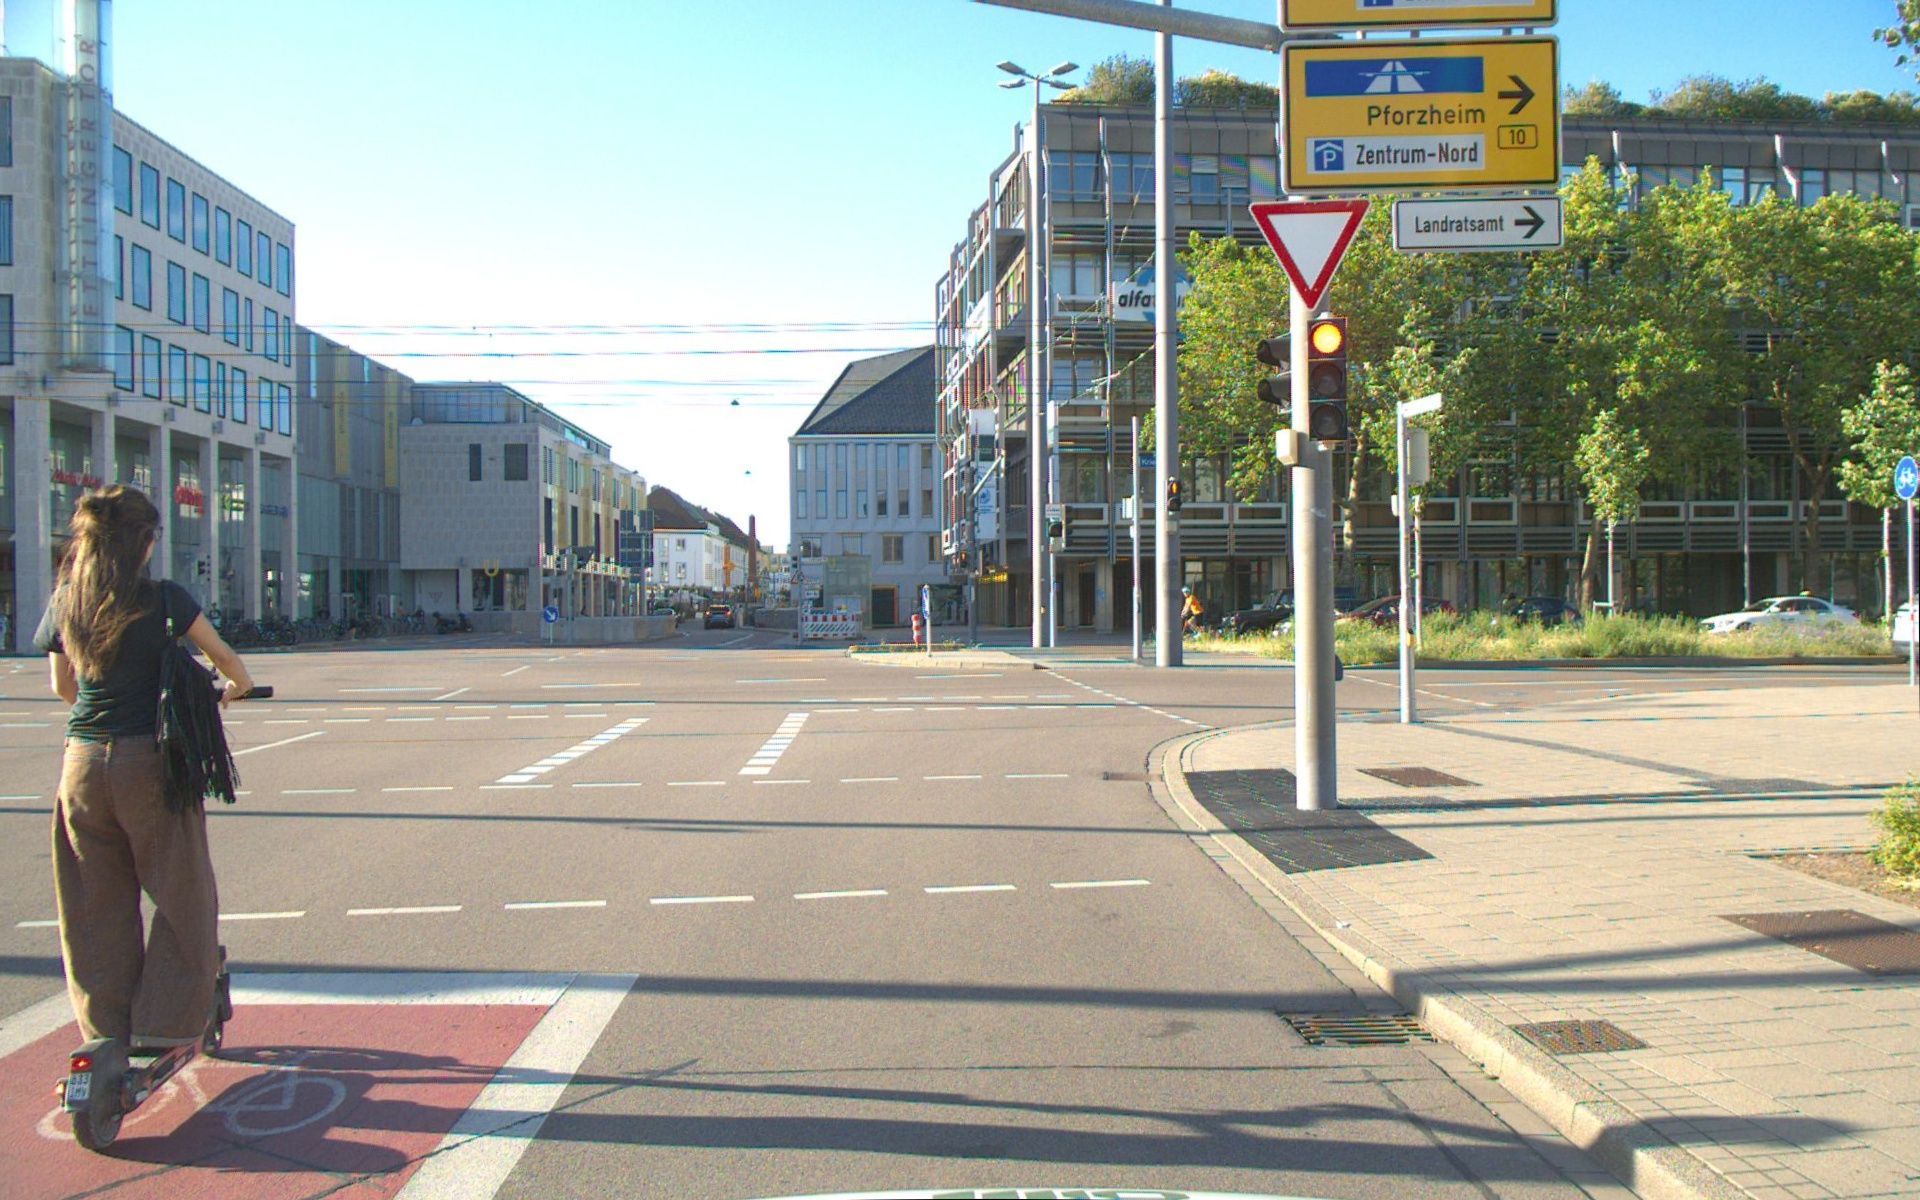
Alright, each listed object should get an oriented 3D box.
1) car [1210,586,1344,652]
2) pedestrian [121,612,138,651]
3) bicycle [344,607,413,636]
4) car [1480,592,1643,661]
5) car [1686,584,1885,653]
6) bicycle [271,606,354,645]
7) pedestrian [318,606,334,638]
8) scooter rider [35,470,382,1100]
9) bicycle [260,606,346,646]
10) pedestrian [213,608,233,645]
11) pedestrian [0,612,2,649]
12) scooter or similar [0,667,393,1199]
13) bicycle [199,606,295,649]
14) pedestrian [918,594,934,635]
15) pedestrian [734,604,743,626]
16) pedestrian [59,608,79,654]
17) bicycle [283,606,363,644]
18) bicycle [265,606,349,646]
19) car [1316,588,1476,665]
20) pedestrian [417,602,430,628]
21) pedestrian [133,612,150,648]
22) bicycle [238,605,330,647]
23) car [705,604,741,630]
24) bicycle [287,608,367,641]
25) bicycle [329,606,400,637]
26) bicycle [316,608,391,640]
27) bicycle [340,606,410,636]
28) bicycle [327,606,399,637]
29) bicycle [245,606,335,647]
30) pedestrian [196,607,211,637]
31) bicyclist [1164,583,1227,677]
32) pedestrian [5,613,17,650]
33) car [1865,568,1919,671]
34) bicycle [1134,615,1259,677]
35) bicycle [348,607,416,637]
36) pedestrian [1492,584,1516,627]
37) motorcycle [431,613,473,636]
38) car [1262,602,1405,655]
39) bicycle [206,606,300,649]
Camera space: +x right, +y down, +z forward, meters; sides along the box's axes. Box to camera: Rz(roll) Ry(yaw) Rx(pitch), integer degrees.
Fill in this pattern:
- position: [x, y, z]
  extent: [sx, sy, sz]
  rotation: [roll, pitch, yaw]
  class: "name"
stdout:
- position: [10.305, 0.600, 53.910]
  extent: [3.908, 2.049, 1.999]
  rotation: [1, 0, -3]
  class: "car"
- position: [-34.920, 1.308, 69.515]
  extent: [0.472, 1.613, 0.513]
  rotation: [-1, 0, -5]
  class: "pedestrian"
- position: [-31.781, 1.171, 90.392]
  extent: [3.430, 1.554, 0.984]
  rotation: [-1, 0, -12]
  class: "bicycle"
- position: [18.828, 0.822, 51.870]
  extent: [4.359, 2.049, 1.998]
  rotation: [1, 0, -6]
  class: "car"
- position: [26.173, 0.580, 52.566]
  extent: [5.332, 2.049, 2.096]
  rotation: [1, 0, -3]
  class: "car"
- position: [-30.037, 1.182, 76.773]
  extent: [3.430, 1.726, 0.984]
  rotation: [-1, 0, -12]
  class: "bicycle"
- position: [-33.584, 1.147, 87.683]
  extent: [0.641, 1.671, 0.693]
  rotation: [-1, 0, -9]
  class: "pedestrian"
- position: [-2.301, 0.529, 5.159]
  extent: [0.713, 1.806, 0.811]
  rotation: [0, 0, -1]
  class: "scooter rider"
- position: [-29.572, 1.172, 74.486]
  extent: [3.430, 1.726, 0.984]
  rotation: [-1, 0, -12]
  class: "bicycle"
- position: [-33.294, 1.198, 74.731]
  extent: [0.776, 1.671, 0.688]
  rotation: [-1, 0, -30]
  class: "pedestrian"
- position: [-37.974, 1.216, 65.151]
  extent: [0.383, 1.451, 0.497]
  rotation: [-1, 0, -34]
  class: "pedestrian"
- position: [-2.282, 0.844, 4.807]
  extent: [0.713, 1.223, 1.664]
  rotation: [0, 0, -1]
  class: "scooter or similar"
- position: [-29.321, 1.117, 68.025]
  extent: [3.427, 1.726, 1.114]
  rotation: [-1, 0, -10]
  class: "bicycle"
- position: [-1.439, 0.609, 69.527]
  extent: [0.650, 1.687, 0.755]
  rotation: [-1, 0, -4]
  class: "pedestrian"
- position: [-14.459, 0.993, 107.990]
  extent: [0.598, 1.436, 0.569]
  rotation: [-1, 0, -7]
  class: "pedestrian"
- position: [-32.612, 1.117, 60.516]
  extent: [0.532, 1.671, 0.547]
  rotation: [-1, 0, -19]
  class: "pedestrian"
- position: [-30.335, 1.191, 78.859]
  extent: [3.430, 1.726, 0.984]
  rotation: [-1, 0, -12]
  class: "bicycle"
- position: [-29.796, 1.181, 75.574]
  extent: [3.430, 1.726, 0.984]
  rotation: [-1, 0, -12]
  class: "bicycle"
- position: [12.232, 0.735, 46.569]
  extent: [3.908, 2.049, 1.999]
  rotation: [1, 0, -3]
  class: "car"
- position: [-34.188, 0.963, 105.424]
  extent: [0.684, 1.671, 0.693]
  rotation: [-1, 0, -12]
  class: "pedestrian"
- position: [-34.701, 1.267, 70.150]
  extent: [0.472, 1.537, 0.513]
  rotation: [-1, 0, -5]
  class: "pedestrian"
- position: [-28.866, 1.091, 70.705]
  extent: [3.427, 1.726, 1.114]
  rotation: [-1, 0, -10]
  class: "bicycle"
- position: [-15.494, 1.099, 108.155]
  extent: [2.157, 1.635, 4.320]
  rotation: [-1, 0, -6]
  class: "car"
- position: [-30.540, 1.174, 79.848]
  extent: [3.430, 1.554, 0.984]
  rotation: [-1, 0, -12]
  class: "bicycle"
- position: [-31.387, 1.111, 87.236]
  extent: [3.430, 1.554, 0.984]
  rotation: [-1, 0, -12]
  class: "bicycle"
- position: [-30.882, 1.216, 84.258]
  extent: [3.430, 1.554, 0.984]
  rotation: [-1, 0, -12]
  class: "bicycle"
- position: [-31.478, 1.141, 89.010]
  extent: [3.430, 1.554, 0.984]
  rotation: [-1, 0, -12]
  class: "bicycle"
- position: [-31.070, 1.123, 86.119]
  extent: [3.430, 1.554, 0.984]
  rotation: [-1, 0, -12]
  class: "bicycle"
- position: [-29.097, 1.127, 71.917]
  extent: [3.427, 1.726, 1.114]
  rotation: [-1, 0, -10]
  class: "bicycle"
- position: [-36.459, 1.063, 79.713]
  extent: [0.629, 1.460, 0.472]
  rotation: [-1, 0, -23]
  class: "pedestrian"
- position: [6.719, 0.834, 47.214]
  extent: [1.539, 2.625, 0.930]
  rotation: [-1, 0, -10]
  class: "bicyclist"
- position: [-37.603, 1.234, 65.540]
  extent: [0.382, 1.437, 0.433]
  rotation: [-1, 0, -29]
  class: "pedestrian"
- position: [17.853, 0.332, 27.886]
  extent: [4.314, 1.689, 1.994]
  rotation: [0, 1, -12]
  class: "car"
- position: [6.749, 1.304, 47.214]
  extent: [3.427, 1.688, 0.929]
  rotation: [-1, 0, -10]
  class: "bicycle"
- position: [-31.945, 1.201, 91.417]
  extent: [3.430, 1.554, 0.984]
  rotation: [-1, 0, -12]
  class: "bicycle"
- position: [21.541, 0.198, 65.478]
  extent: [0.651, 1.687, 0.740]
  rotation: [-1, 0, -8]
  class: "pedestrian"
- position: [-29.952, 1.439, 97.586]
  extent: [2.230, 1.341, 0.719]
  rotation: [-1, 0, -6]
  class: "motorcycle"
- position: [11.440, 0.866, 50.807]
  extent: [3.908, 1.534, 1.867]
  rotation: [1, 0, -4]
  class: "car"
- position: [-29.552, 1.127, 69.217]
  extent: [3.427, 1.726, 1.114]
  rotation: [-1, 0, -10]
  class: "bicycle"
